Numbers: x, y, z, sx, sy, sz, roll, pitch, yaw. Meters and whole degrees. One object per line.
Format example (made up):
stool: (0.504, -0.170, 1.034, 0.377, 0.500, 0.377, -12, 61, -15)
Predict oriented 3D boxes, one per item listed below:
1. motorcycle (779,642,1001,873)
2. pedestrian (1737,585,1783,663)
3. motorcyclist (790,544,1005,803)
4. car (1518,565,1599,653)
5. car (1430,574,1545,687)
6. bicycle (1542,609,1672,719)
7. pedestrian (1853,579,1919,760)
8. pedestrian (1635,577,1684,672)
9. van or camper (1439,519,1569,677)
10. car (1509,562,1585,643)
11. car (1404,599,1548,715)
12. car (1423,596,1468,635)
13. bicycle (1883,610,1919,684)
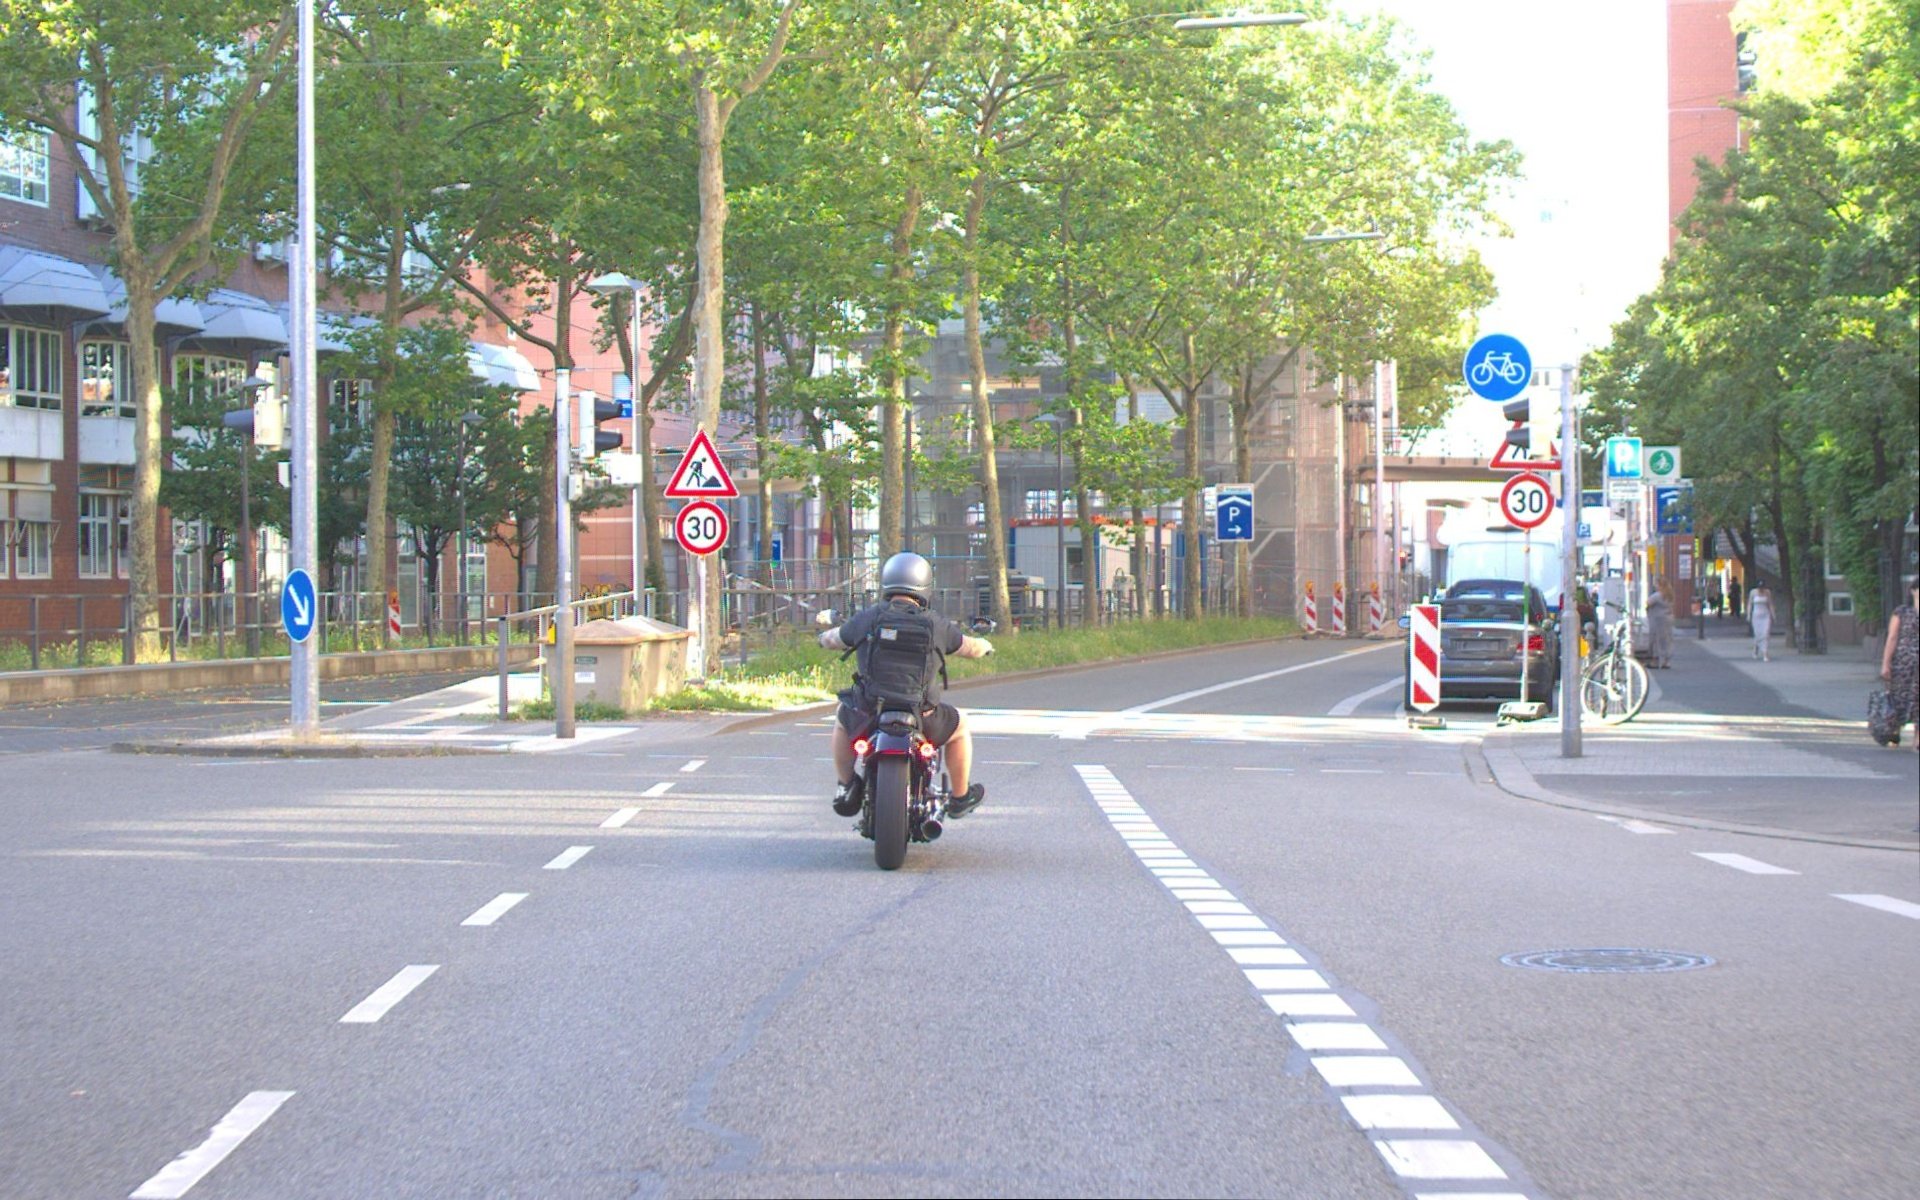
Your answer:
motorcycle: (-0.326, 0.771, 17.610, 1.018, 1.093, 2.007, 0, 0, 2)
pedestrian: (15.050, 0.447, 64.654, 0.765, 1.440, 0.780, 1, 0, 9)
motorcyclist: (-0.308, 0.363, 17.616, 1.012, 1.258, 0.774, 2, 1, 3)
car: (14.108, 0.197, 81.137, 1.836, 2.007, 4.386, 0, 0, 9)
car: (7.940, 0.428, 51.543, 1.621, 1.614, 4.483, 0, 0, 10)
bicycle: (6.466, 0.631, 34.433, 0.737, 1.049, 1.752, 0, 0, -9)
pedestrian: (8.270, 0.601, 30.285, 0.644, 1.573, 0.748, 0, 0, 4)
pedestrian: (12.177, 0.429, 59.844, 0.762, 1.639, 0.547, 0, 0, 3)
van or camper: (9.222, -0.046, 57.953, 2.049, 2.532, 5.770, 0, 0, 10)
car: (14.872, 0.056, 87.211, 1.836, 2.007, 4.386, 0, 0, 9)
car: (6.214, 0.655, 41.396, 1.621, 1.298, 4.310, 0, 0, 9)
car: (21.677, 0.674, 153.570, 1.852, 1.711, 3.999, 0, 0, 7)
bicycle: (13.777, 0.665, 49.383, 0.617, 1.017, 1.914, 0, 0, 3)
